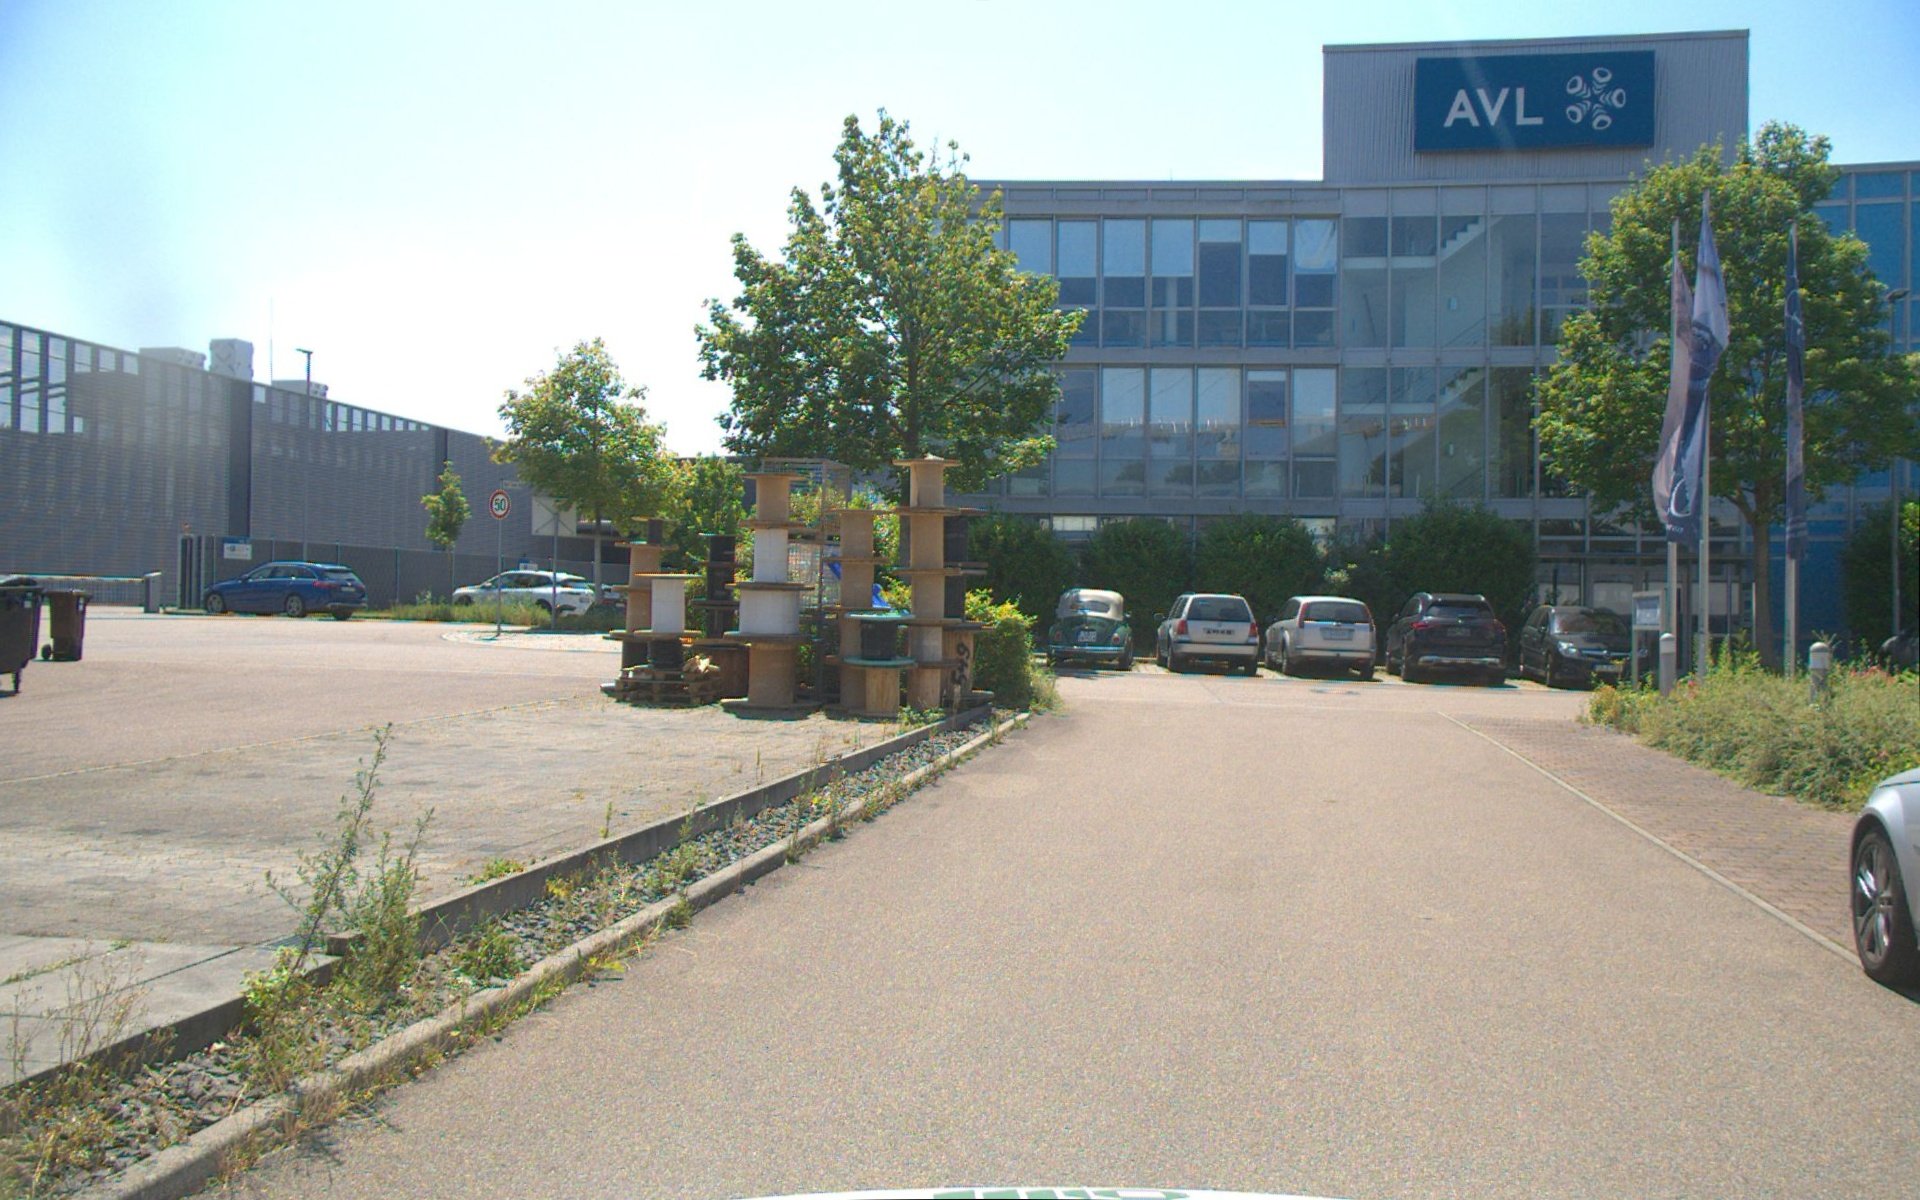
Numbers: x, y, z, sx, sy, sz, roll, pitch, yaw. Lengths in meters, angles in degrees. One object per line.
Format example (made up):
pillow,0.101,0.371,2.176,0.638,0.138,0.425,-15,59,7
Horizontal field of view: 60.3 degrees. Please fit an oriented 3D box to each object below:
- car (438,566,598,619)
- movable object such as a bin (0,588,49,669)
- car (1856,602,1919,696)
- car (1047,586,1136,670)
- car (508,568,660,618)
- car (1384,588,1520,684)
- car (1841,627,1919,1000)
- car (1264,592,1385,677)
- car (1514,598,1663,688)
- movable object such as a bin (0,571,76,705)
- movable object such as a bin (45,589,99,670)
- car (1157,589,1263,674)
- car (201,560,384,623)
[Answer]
car,-14.247,-0.254,53.272,4.742,1.517,1.999,2,1,24
movable object such as a bin,-12.348,0.375,21.770,0.572,1.045,0.422,1,0,-24
car,18.345,0.913,30.495,1.781,1.648,4.343,1,1,8
car,2.615,0.495,32.290,1.509,1.474,3.657,2,1,8
car,-12.704,-0.253,55.933,4.742,1.517,1.999,2,1,24
car,9.355,0.633,31.754,1.886,1.638,3.990,2,1,8
car,4.296,0.829,4.995,1.761,1.422,4.423,1,0,13
car,7.057,0.622,32.315,1.728,1.474,3.656,2,1,4
car,11.810,0.760,31.358,1.732,1.507,4.262,1,1,8
movable object such as a bin,-10.012,0.388,17.455,0.793,1.368,0.885,1,0,15
movable object such as a bin,-11.811,0.391,22.006,0.569,1.054,0.422,1,0,-24
car,4.808,0.559,32.207,1.695,1.474,3.656,2,1,4
car,-17.792,-0.240,44.066,4.410,1.517,1.999,2,1,24
